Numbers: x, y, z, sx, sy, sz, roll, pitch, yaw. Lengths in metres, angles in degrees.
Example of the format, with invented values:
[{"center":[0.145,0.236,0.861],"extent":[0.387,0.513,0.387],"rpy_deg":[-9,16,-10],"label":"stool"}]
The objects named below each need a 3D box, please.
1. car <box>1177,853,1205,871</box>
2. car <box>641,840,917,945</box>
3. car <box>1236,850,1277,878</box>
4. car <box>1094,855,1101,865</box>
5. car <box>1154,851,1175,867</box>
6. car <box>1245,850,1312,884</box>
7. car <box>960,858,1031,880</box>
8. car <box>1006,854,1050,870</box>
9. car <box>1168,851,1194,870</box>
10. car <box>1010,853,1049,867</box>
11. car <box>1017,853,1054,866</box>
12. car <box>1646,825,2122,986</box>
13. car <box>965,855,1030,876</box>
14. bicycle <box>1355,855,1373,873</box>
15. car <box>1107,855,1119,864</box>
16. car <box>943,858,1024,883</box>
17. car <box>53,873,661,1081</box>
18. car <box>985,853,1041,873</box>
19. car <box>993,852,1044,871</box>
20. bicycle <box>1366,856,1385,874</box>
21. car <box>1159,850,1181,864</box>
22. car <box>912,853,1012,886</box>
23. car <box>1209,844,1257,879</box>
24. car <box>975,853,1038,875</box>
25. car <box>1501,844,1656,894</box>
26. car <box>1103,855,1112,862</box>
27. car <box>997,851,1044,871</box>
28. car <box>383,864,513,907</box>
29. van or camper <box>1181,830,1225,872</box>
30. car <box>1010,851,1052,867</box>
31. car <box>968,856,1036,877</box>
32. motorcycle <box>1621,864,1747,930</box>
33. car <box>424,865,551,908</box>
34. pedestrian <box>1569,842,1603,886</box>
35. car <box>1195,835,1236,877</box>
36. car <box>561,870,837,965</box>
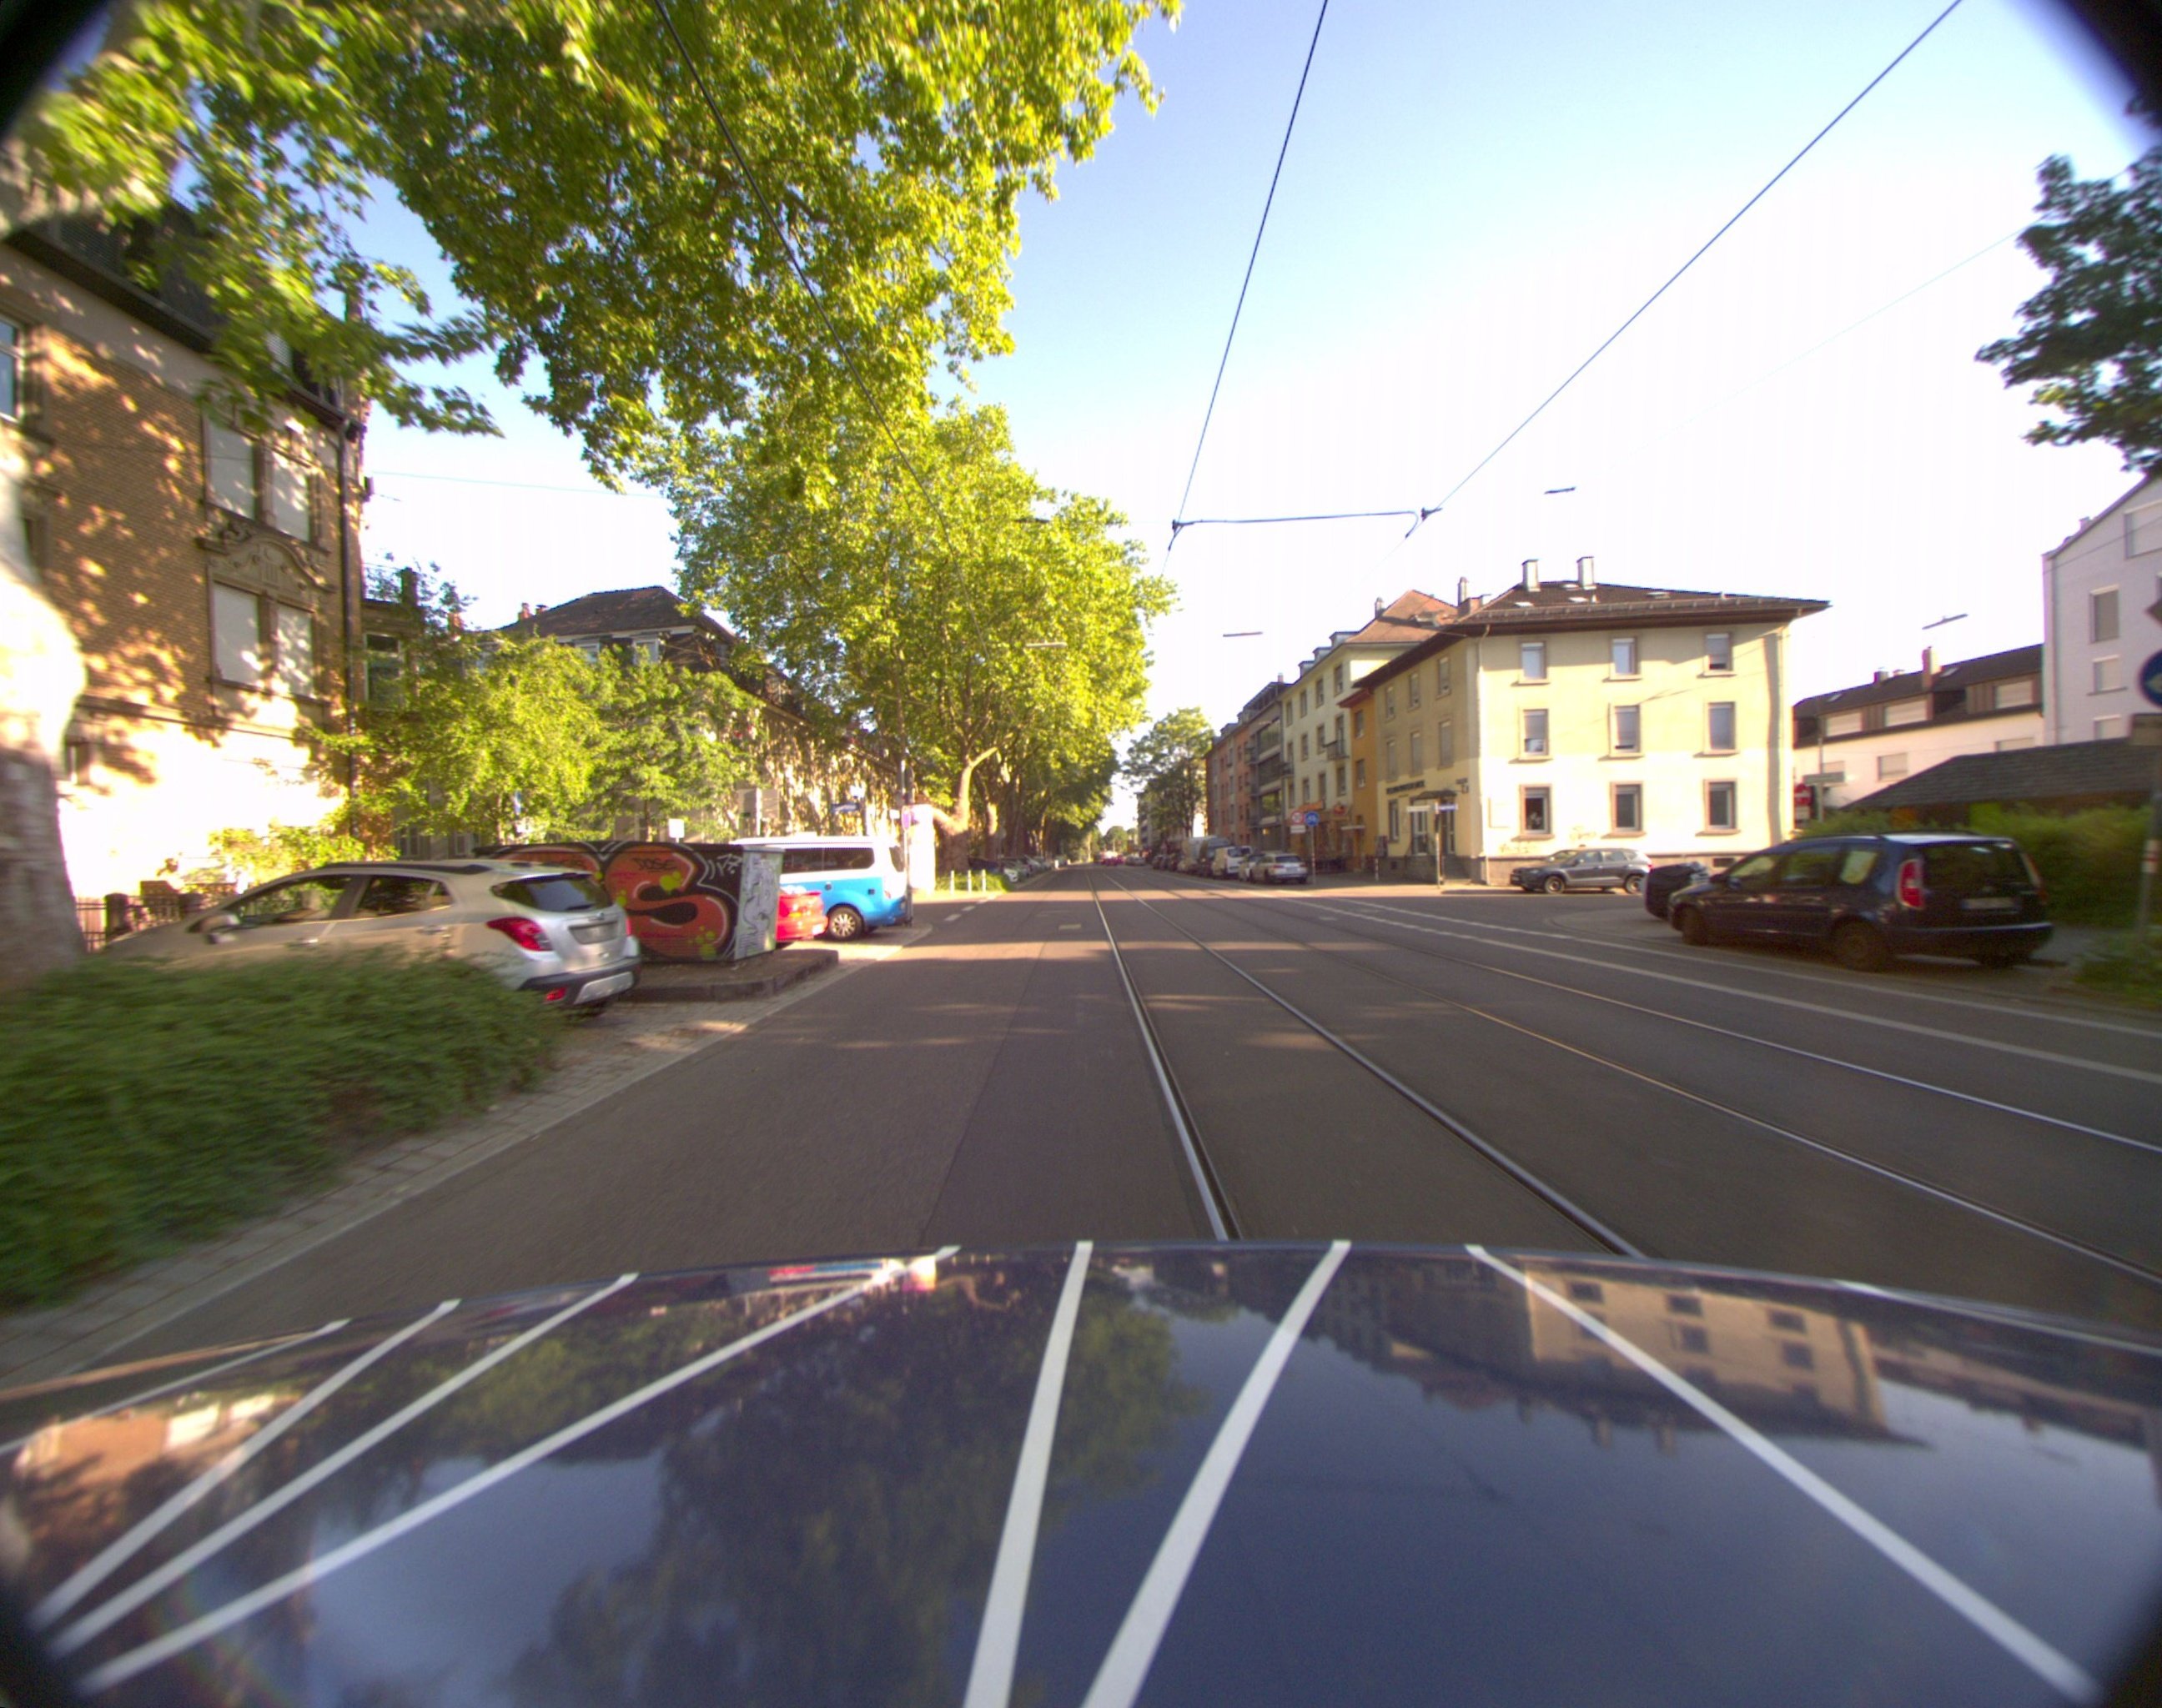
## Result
[{"center":[9.681,0.666,67.135],"extent":[1.791,1.506,3.473],"rpy_deg":[-2,0,-1],"label":"car"},{"center":[-6.045,0.742,15.780],"extent":[4.859,2.002,2.193],"rpy_deg":[0,0,-3],"label":"car"},{"center":[9.707,0.533,42.264],"extent":[1.575,1.484,2.882],"rpy_deg":[-2,0,0],"label":"car"},{"center":[4.971,1.674,224.634],"extent":[1.998,2.756,4.742],"rpy_deg":[-1,0,0],"label":"car"},{"center":[9.591,0.550,87.554],"extent":[1.791,1.660,4.434],"rpy_deg":[-2,0,-1],"label":"car"},{"center":[9.663,0.603,37.548],"extent":[1.776,1.484,4.940],"rpy_deg":[-2,0,-3],"label":"car"},{"center":[-5.860,1.036,52.375],"extent":[4.611,1.485,1.893],"rpy_deg":[-1,0,3],"label":"car"},{"center":[-5.824,0.875,84.238],"extent":[4.611,1.631,1.893],"rpy_deg":[-1,0,3],"label":"car"},{"center":[9.511,0.593,72.783],"extent":[1.791,1.743,4.434],"rpy_deg":[-2,0,-1],"label":"car"},{"center":[-6.371,0.787,94.233],"extent":[4.611,1.705,1.893],"rpy_deg":[-1,0,3],"label":"car"},{"center":[-5.877,0.741,98.868],"extent":[4.611,1.705,1.893],"rpy_deg":[-1,0,3],"label":"car"},{"center":[10.137,0.551,10.232],"extent":[1.997,1.680,4.262],"rpy_deg":[-1,0,3],"label":"car"},{"center":[-6.269,0.875,57.330],"extent":[4.611,1.557,1.893],"rpy_deg":[-1,0,3],"label":"car"},{"center":[15.473,0.529,41.593],"extent":[0.362,0.923,1.647],"rpy_deg":[-1,0,0],"label":"bicycle"},{"center":[5.095,0.855,120.941],"extent":[1.769,1.448,3.586],"rpy_deg":[-1,0,0],"label":"car"},{"center":[-5.942,0.996,46.580],"extent":[4.611,1.485,1.893],"rpy_deg":[-1,0,3],"label":"car"},{"center":[-6.264,0.998,6.982],"extent":[3.792,1.609,1.790],"rpy_deg":[0,0,-2],"label":"car"},{"center":[-5.895,0.768,65.957],"extent":[4.611,1.631,1.893],"rpy_deg":[-1,0,3],"label":"car"},{"center":[-5.977,0.726,72.495],"extent":[4.611,1.781,1.893],"rpy_deg":[-1,0,3],"label":"car"},{"center":[15.449,0.554,39.904],"extent":[0.362,0.923,1.647],"rpy_deg":[-1,0,0],"label":"bicycle"},{"center":[9.700,0.308,82.826],"extent":[1.791,1.462,4.434],"rpy_deg":[-2,0,-1],"label":"car"},{"center":[-6.096,0.804,39.335],"extent":[4.810,1.621,1.893],"rpy_deg":[-1,0,0],"label":"car"},{"center":[9.543,0.449,48.056],"extent":[1.928,2.034,4.940],"rpy_deg":[-2,0,-1],"label":"car"},{"center":[-5.784,0.810,59.300],"extent":[4.611,1.631,1.893],"rpy_deg":[-1,0,3],"label":"car"},{"center":[17.155,0.494,26.359],"extent":[4.071,1.608,1.966],"rpy_deg":[-1,0,4],"label":"car"},{"center":[5.646,1.033,162.873],"extent":[1.769,1.448,3.586],"rpy_deg":[-1,0,0],"label":"car"},{"center":[-6.216,0.692,78.717],"extent":[4.636,2.001,1.893],"rpy_deg":[-1,0,3],"label":"car"},{"center":[-26.574,1.281,32.072],"extent":[1.727,1.573,4.003],"rpy_deg":[-1,0,10],"label":"car"},{"center":[9.663,-0.235,60.847],"extent":[2.423,2.960,5.990],"rpy_deg":[-5,0,1],"label":"van or camper"},{"center":[-5.726,0.584,86.839],"extent":[4.611,1.781,1.893],"rpy_deg":[-1,0,3],"label":"car"},{"center":[-5.677,0.908,54.958],"extent":[4.611,1.485,1.893],"rpy_deg":[-1,0,3],"label":"car"},{"center":[11.424,0.790,14.511],"extent":[0.674,1.132,2.151],"rpy_deg":[-4,-2,2],"label":"motorcycle"},{"center":[-24.488,1.285,31.540],"extent":[1.727,1.573,4.003],"rpy_deg":[-1,0,10],"label":"car"},{"center":[18.812,0.358,28.302],"extent":[0.775,1.578,0.752],"rpy_deg":[-2,4,2],"label":"pedestrian"},{"center":[9.510,0.119,54.071],"extent":[1.927,2.730,4.546],"rpy_deg":[-5,0,0],"label":"car"},{"center":[-6.353,1.025,12.979],"extent":[3.792,1.479,1.790],"rpy_deg":[0,0,-2],"label":"car"}]
